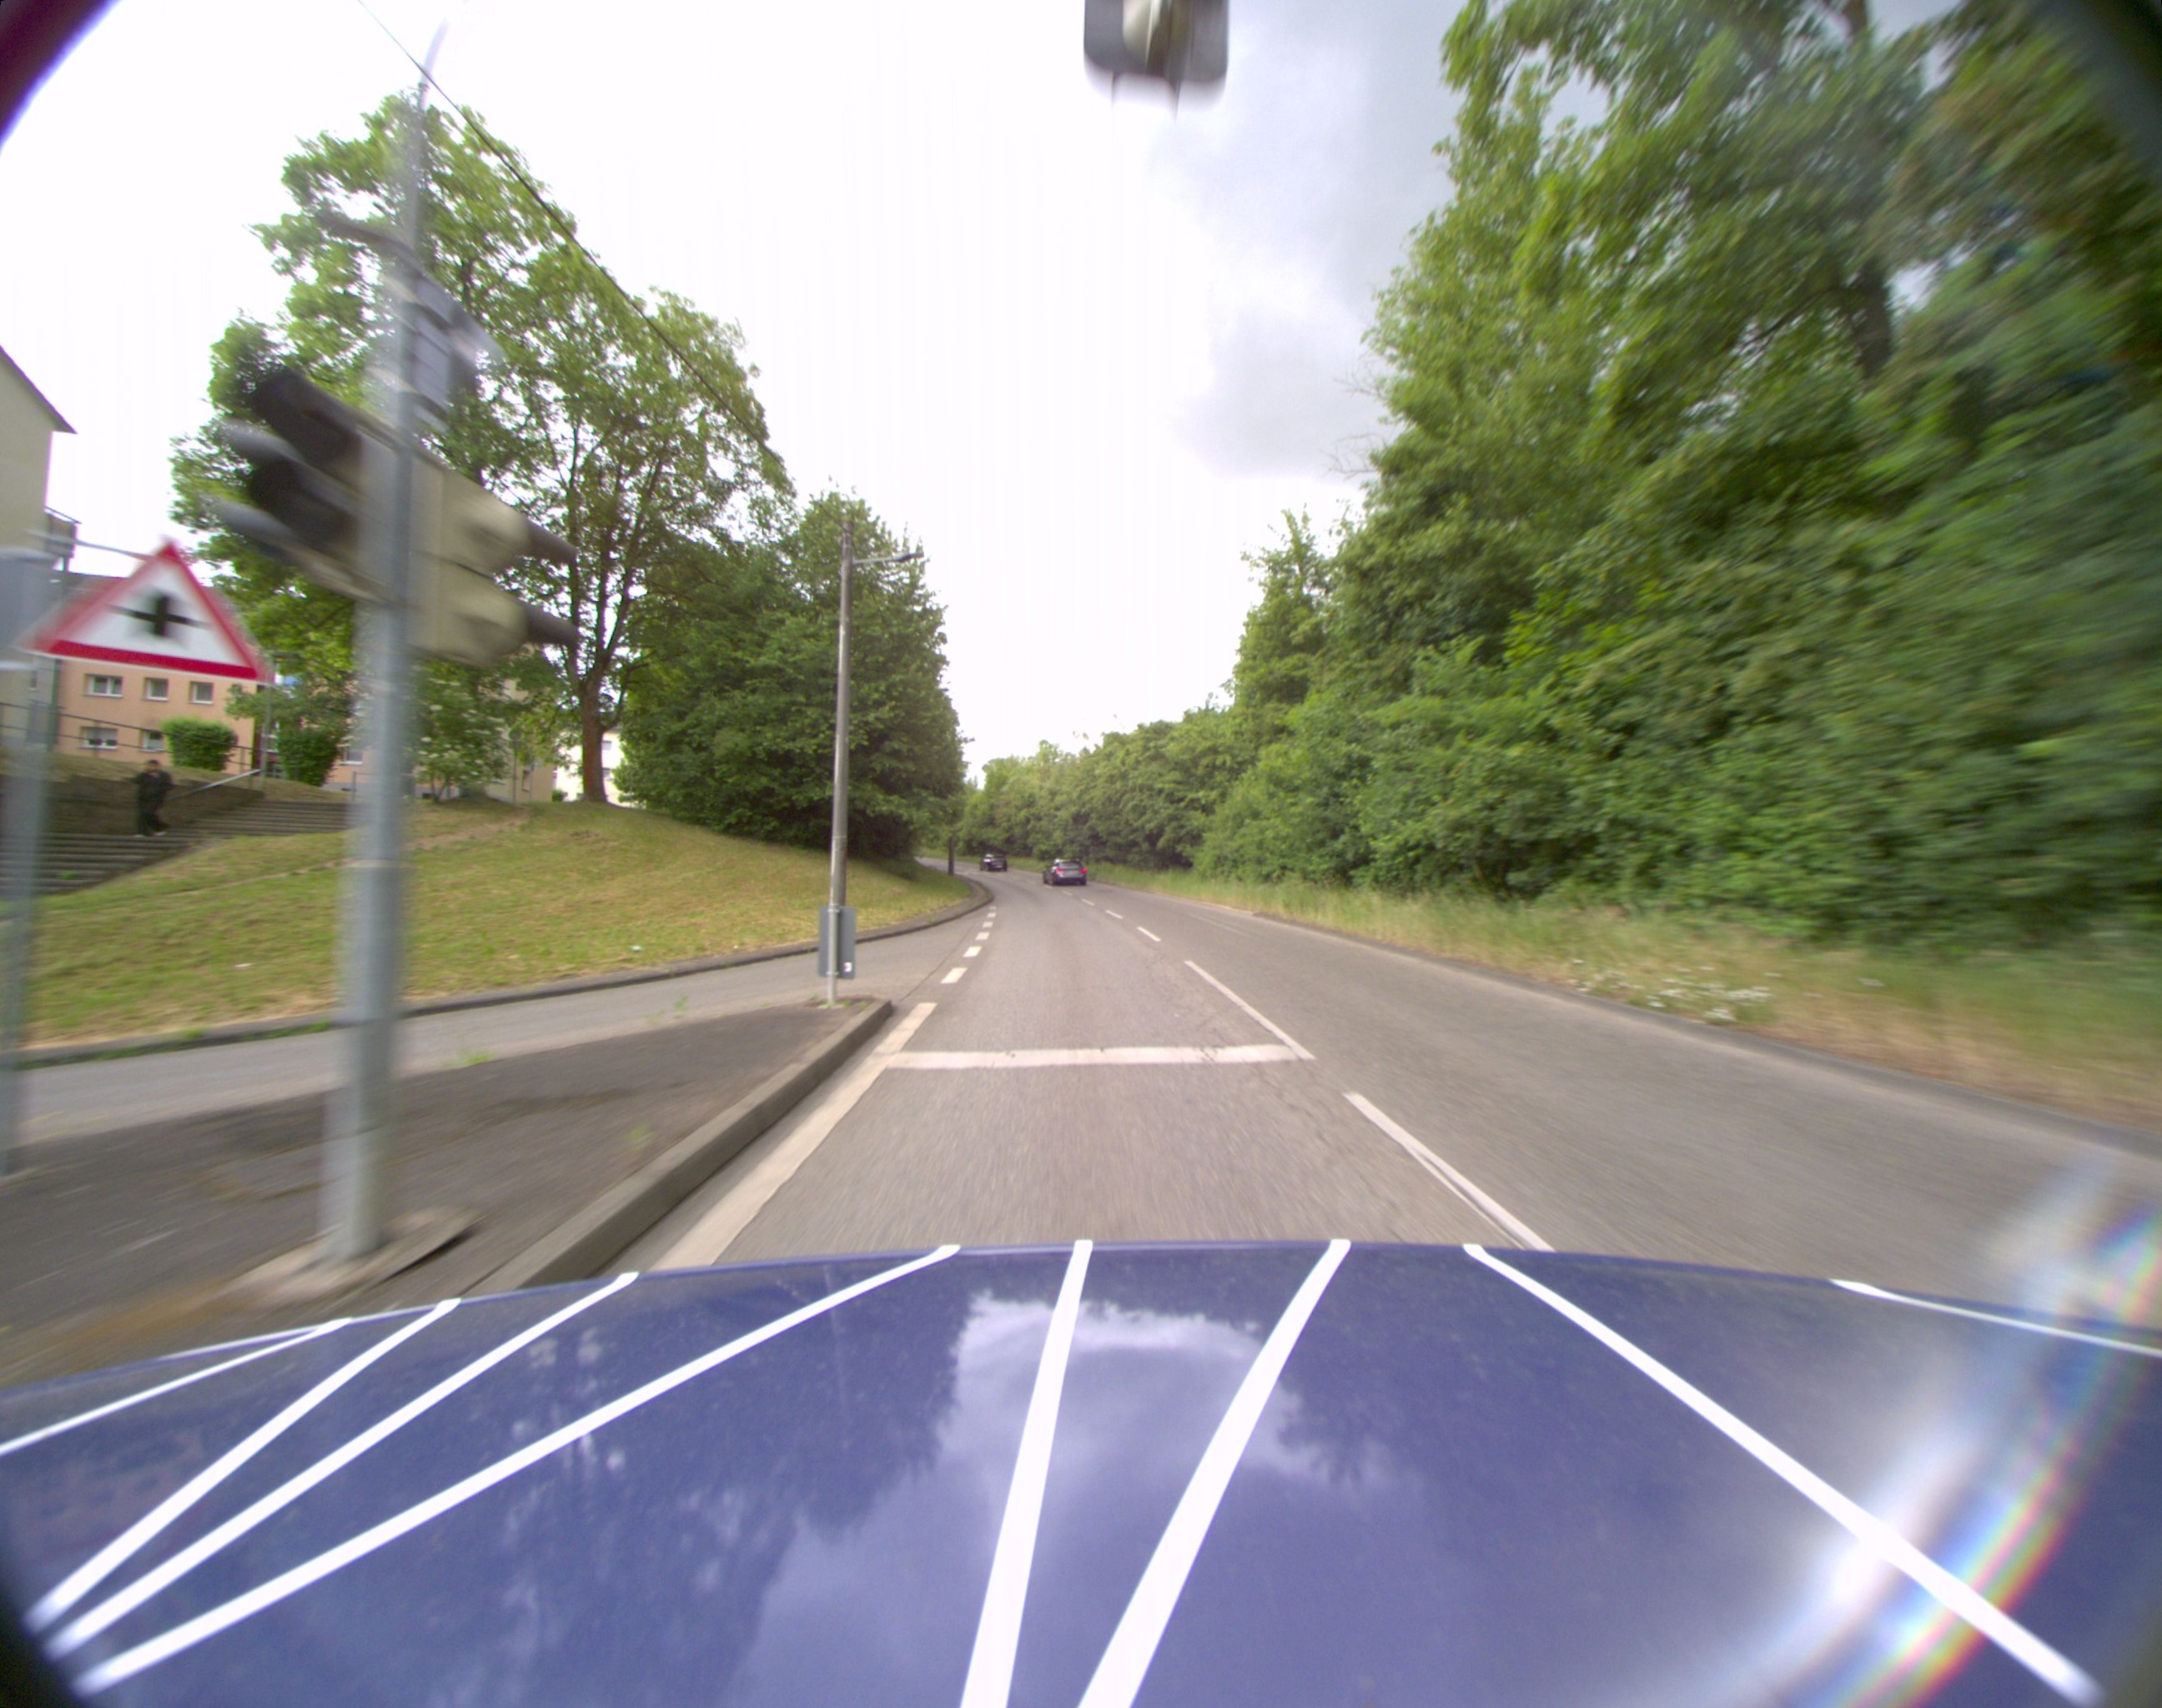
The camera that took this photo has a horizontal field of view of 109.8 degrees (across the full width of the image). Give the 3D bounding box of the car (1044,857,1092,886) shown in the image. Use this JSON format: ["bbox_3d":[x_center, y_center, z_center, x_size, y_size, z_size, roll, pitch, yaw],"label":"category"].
[{"bbox_3d":[-0.801,0.933,42.593,1.904,1.346,4.837,-3,1,-10],"label":"car"}]

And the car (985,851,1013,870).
[{"bbox_3d":[-7.197,0.548,66.011,1.809,1.426,4.654,-2,1,-13],"label":"car"}]
